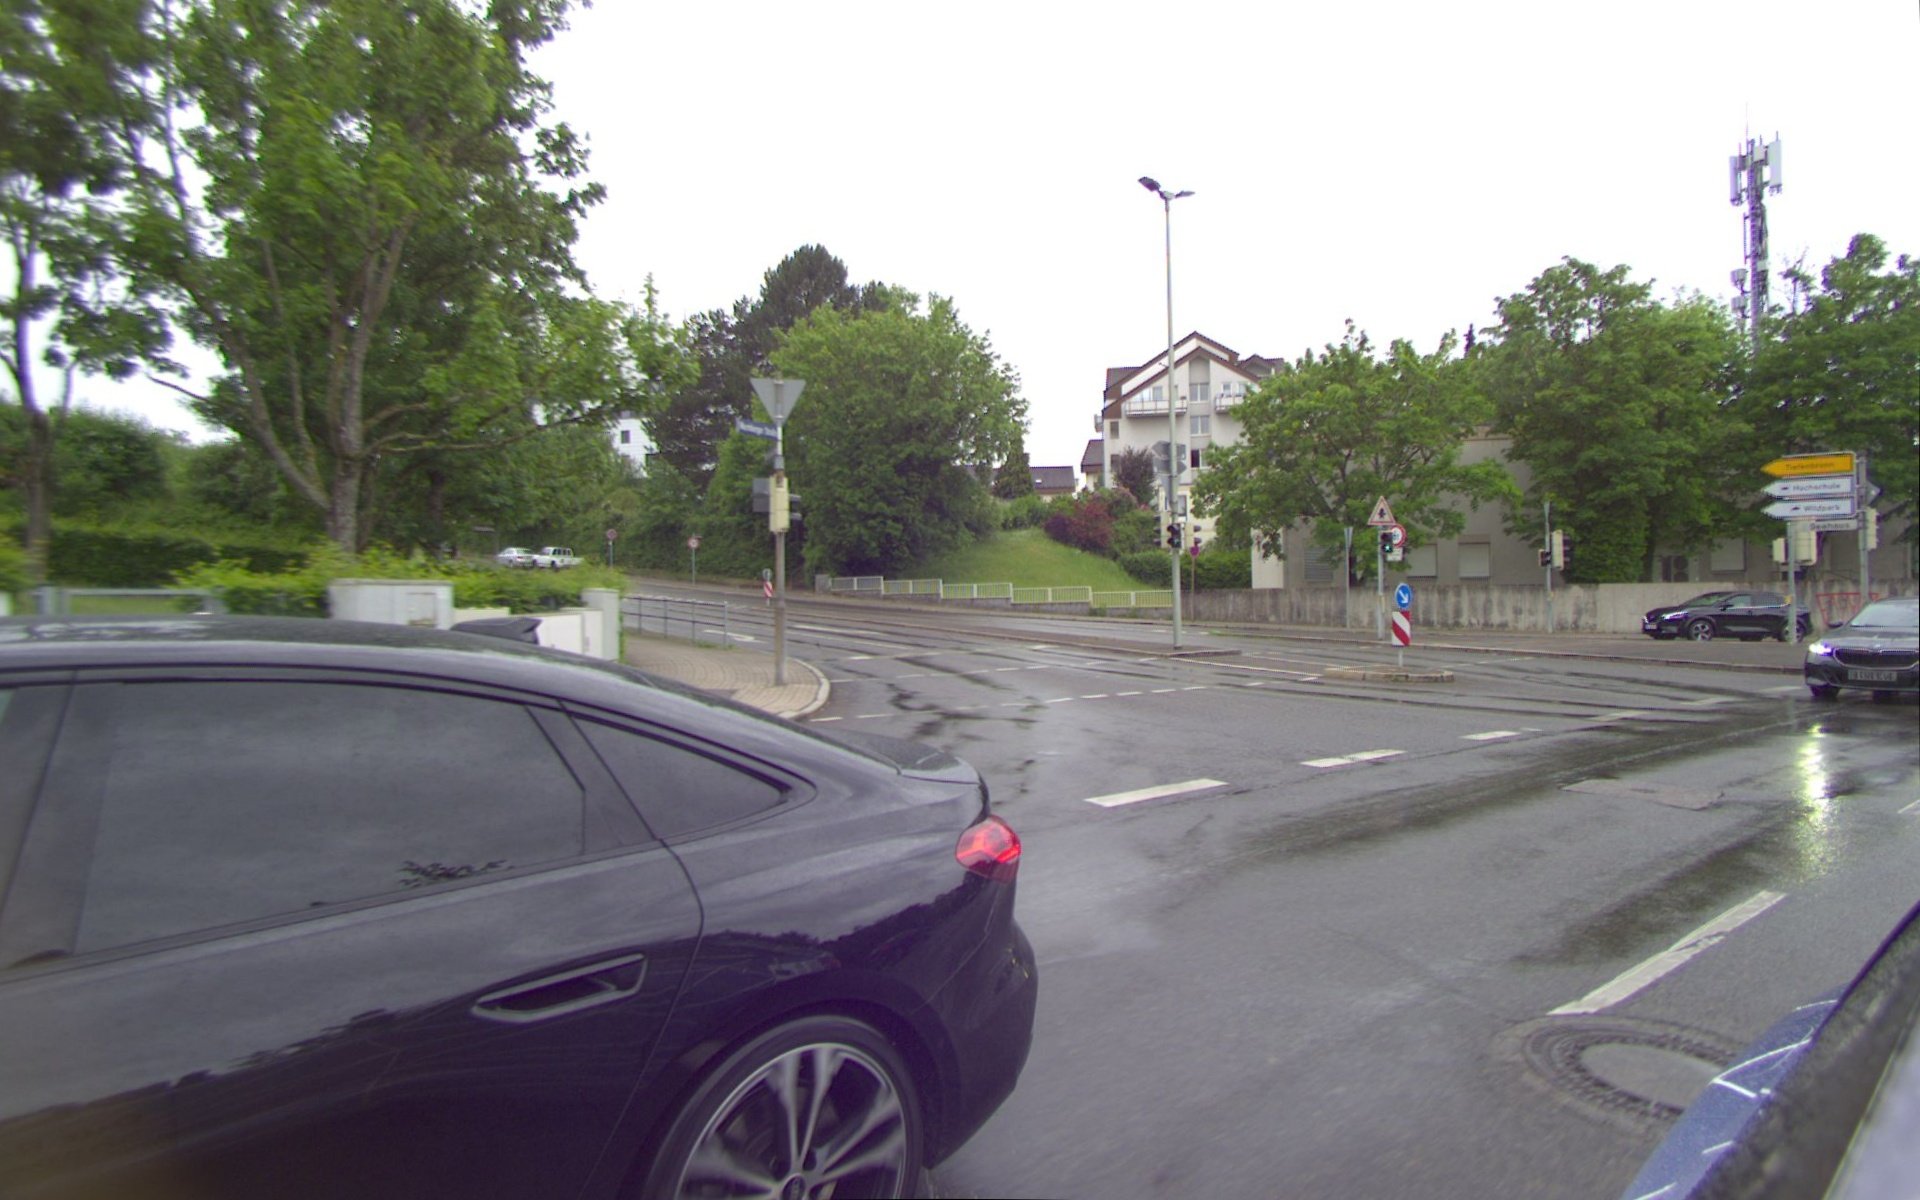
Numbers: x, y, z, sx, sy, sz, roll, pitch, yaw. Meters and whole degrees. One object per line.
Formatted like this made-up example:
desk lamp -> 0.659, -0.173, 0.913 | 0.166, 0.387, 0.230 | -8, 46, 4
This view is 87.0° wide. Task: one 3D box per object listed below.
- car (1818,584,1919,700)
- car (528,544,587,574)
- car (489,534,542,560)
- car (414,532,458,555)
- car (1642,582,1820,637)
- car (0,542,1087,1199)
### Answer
car -> 14.456, 0.542, 15.005 | 3.927, 1.538, 1.872 | -1, 1, -38
car -> -26.530, -2.740, 66.693 | 4.196, 1.900, 1.970 | 3, 3, 42
car -> -31.396, -3.737, 71.430 | 3.986, 1.828, 1.970 | 3, 3, 42
car -> -43.112, -4.651, 83.310 | 3.986, 1.828, 1.970 | 3, 3, 42
car -> 23.138, 0.273, 30.492 | 3.932, 1.571, 1.691 | 0, 1, 7
car -> -2.033, 0.655, 1.554 | 4.659, 1.442, 1.869 | -2, 1, -42
